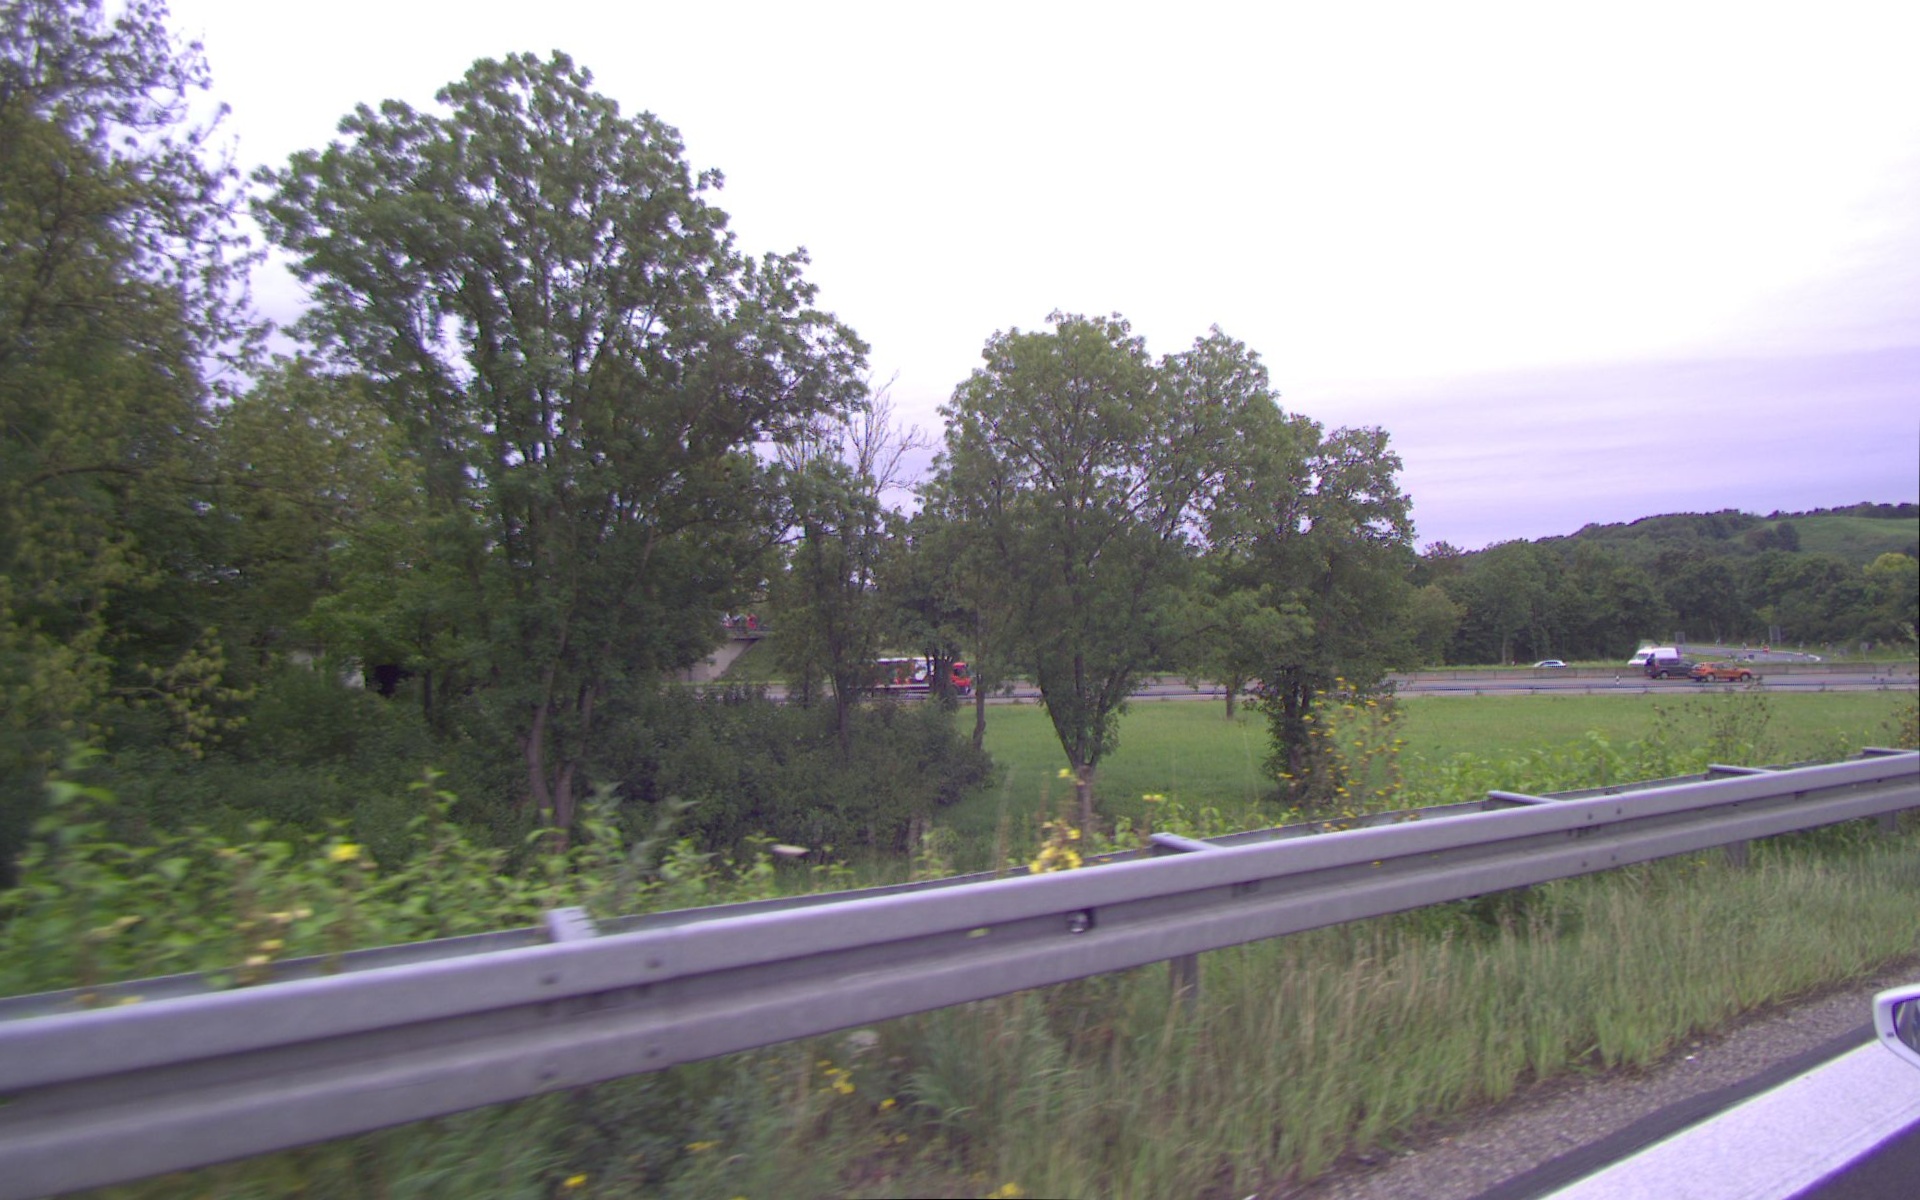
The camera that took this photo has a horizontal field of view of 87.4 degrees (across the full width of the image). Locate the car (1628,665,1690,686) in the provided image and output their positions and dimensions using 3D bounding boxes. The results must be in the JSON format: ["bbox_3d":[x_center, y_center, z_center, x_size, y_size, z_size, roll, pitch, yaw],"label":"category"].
[{"bbox_3d":[60.837,6.592,87.448,3.919,1.683,2.001,0,-1,11],"label":"car"}]

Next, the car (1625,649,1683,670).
[{"bbox_3d":[78.985,6.751,114.338,5.865,2.129,2.022,-1,-5,-16],"label":"car"}]

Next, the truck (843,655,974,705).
[{"bbox_3d":[-4.552,7.114,89.642,11.197,4.058,2.908,-2,-2,7],"label":"truck"}]

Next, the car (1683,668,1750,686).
[{"bbox_3d":[62.910,6.422,83.567,3.919,1.293,1.934,-3,-6,9],"label":"car"}]
